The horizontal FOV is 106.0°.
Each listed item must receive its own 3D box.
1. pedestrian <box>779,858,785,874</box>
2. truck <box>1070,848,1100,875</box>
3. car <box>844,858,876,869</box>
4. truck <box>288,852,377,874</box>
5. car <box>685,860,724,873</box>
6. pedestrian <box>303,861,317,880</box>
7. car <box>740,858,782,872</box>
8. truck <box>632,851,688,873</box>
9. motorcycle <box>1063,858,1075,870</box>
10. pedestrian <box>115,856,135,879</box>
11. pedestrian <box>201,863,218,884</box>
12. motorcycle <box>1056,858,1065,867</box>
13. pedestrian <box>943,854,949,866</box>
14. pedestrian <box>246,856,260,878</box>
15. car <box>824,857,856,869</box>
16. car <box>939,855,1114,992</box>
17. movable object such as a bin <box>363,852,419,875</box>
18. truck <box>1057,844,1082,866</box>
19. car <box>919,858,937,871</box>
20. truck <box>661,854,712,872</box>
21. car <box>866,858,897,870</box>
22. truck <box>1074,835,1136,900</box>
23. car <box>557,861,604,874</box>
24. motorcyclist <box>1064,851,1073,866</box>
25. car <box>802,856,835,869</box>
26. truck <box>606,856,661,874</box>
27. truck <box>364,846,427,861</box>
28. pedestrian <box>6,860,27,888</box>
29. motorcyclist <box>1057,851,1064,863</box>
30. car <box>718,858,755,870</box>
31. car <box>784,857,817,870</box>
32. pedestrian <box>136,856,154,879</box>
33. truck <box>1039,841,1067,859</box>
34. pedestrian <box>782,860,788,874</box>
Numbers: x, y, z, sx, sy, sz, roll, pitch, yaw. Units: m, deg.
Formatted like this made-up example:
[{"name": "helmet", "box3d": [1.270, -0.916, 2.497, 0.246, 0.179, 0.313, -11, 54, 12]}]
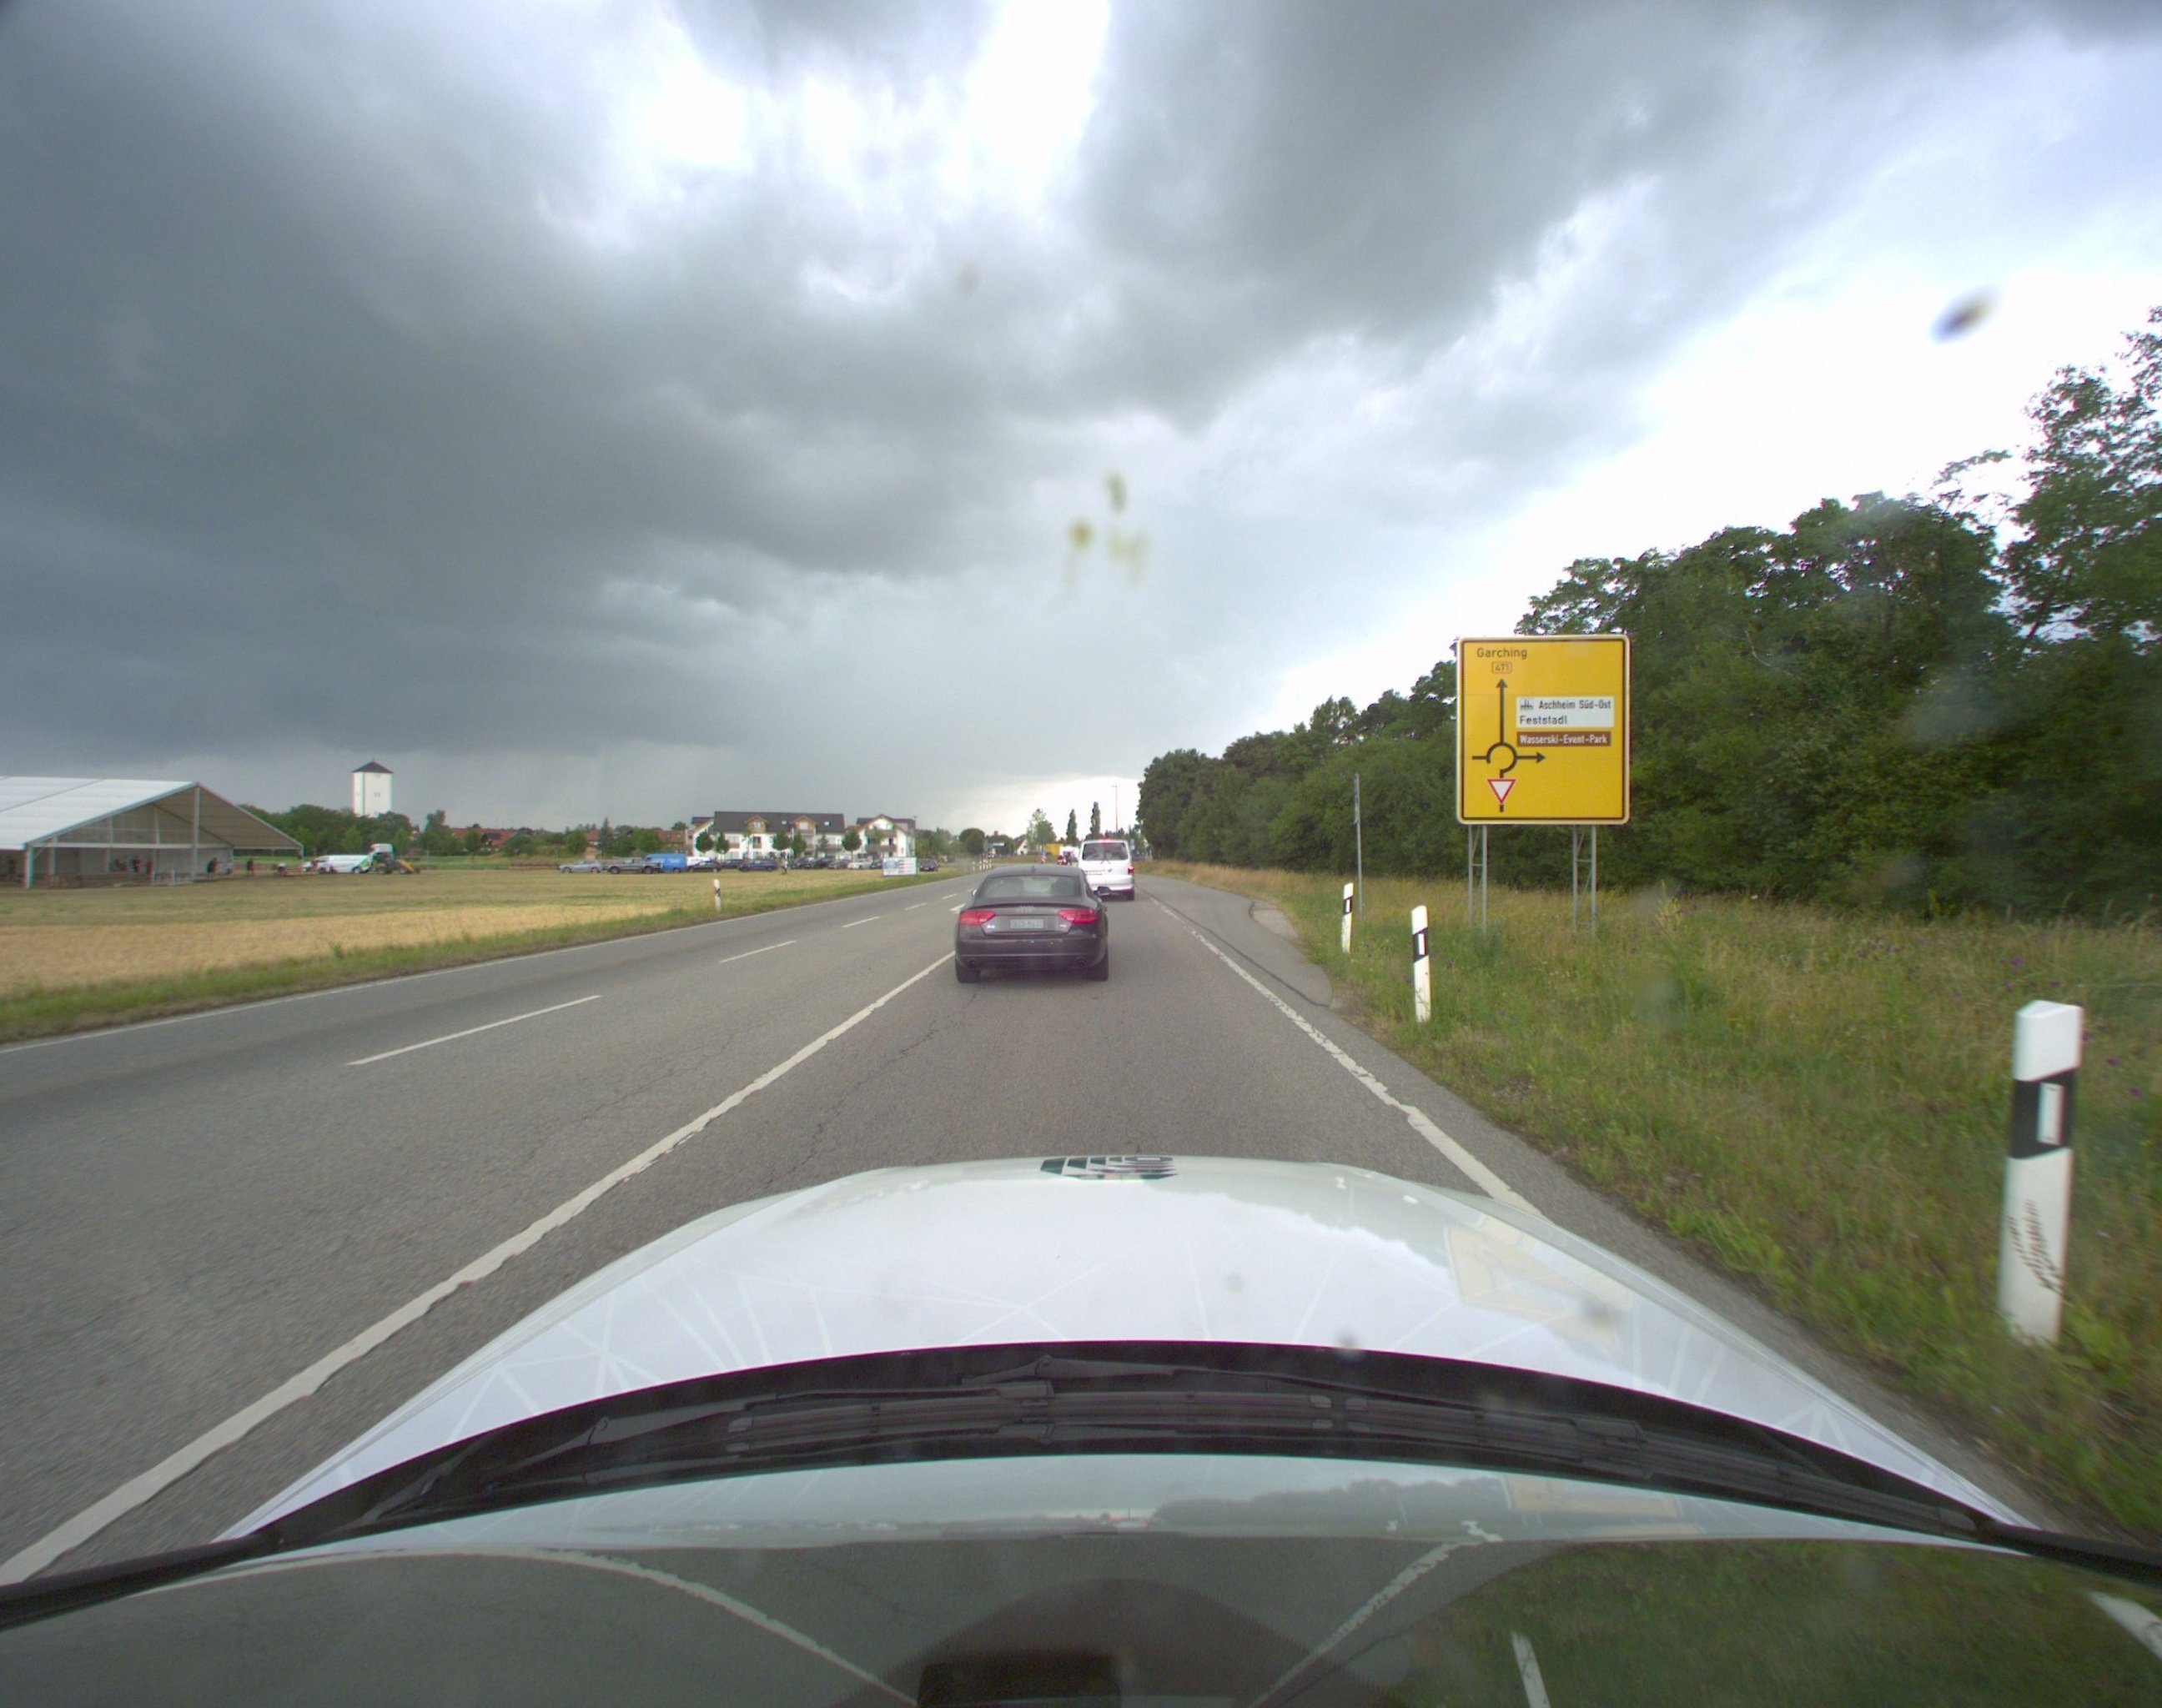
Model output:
[{"name": "pedestrian", "box3d": [-32.554, 1.284, 88.716, 0.548, 1.786, 0.675, 0, 0, -11]}, {"name": "truck", "box3d": [0.346, 0.590, 63.707, 2.186, 2.014, 5.085, 0, 0, 1]}, {"name": "car", "box3d": [-29.268, 1.224, 108.072, 1.977, 1.446, 4.232, -1, 0, 19]}, {"name": "truck", "box3d": [-76.222, 0.893, 83.085, 6.077, 2.217, 2.697, 0, 0, -27]}, {"name": "car", "box3d": [-45.736, 1.448, 98.956, 4.169, 1.519, 1.987, 0, 0, -20]}, {"name": "pedestrian", "box3d": [-72.308, 1.574, 76.381, 0.689, 1.776, 0.692, 0, -1, -12]}, {"name": "car", "box3d": [-39.779, 1.358, 101.306, 4.731, 1.697, 1.987, 0, 0, -20]}, {"name": "truck", "box3d": [-48.702, 0.917, 94.327, 5.470, 2.446, 2.376, 0, 0, -22]}, {"name": "motorcycle", "box3d": [-1.109, 0.892, 74.579, 0.916, 1.094, 2.190, 0, 0, 3]}, {"name": "pedestrian", "box3d": [-75.010, 1.064, 63.909, 0.732, 1.779, 0.755, 0, -1, -20]}, {"name": "pedestrian", "box3d": [-71.831, 1.608, 67.114, 0.690, 1.776, 0.691, 0, -1, -17]}, {"name": "motorcycle", "box3d": [-2.311, 0.955, 91.561, 0.942, 1.019, 2.280, 0, 0, -5]}, {"name": "pedestrian", "box3d": [-19.096, 0.838, 115.162, 0.695, 1.586, 0.660, -1, -1, 17]}, {"name": "pedestrian", "box3d": [-73.871, 1.158, 72.664, 0.626, 1.866, 0.704, 0, -1, -18]}, {"name": "car", "box3d": [-32.018, 1.202, 108.496, 1.977, 1.535, 4.232, -1, 0, 19]}, {"name": "car", "box3d": [-0.573, 0.754, 10.898, 1.869, 1.454, 4.177, -1, 0, 0]}, {"name": "movable object such as a bin", "box3d": [-69.693, 0.955, 82.312, 4.007, 2.243, 1.869, 0, 0, -27]}, {"name": "truck", "box3d": [-1.501, 0.156, 102.810, 2.623, 2.737, 5.855, 0, 0, -6]}, {"name": "car", "box3d": [-17.911, 1.177, 95.189, 1.994, 1.442, 3.986, 0, 1, -10]}, {"name": "truck", "box3d": [-49.177, 1.140, 101.736, 5.587, 2.196, 2.588, 0, 0, -22]}, {"name": "car", "box3d": [-26.385, 1.283, 107.659, 1.977, 1.446, 4.232, -1, 0, 19]}, {"name": "truck", "box3d": [0.790, 0.424, 27.489, 1.897, 1.998, 4.629, 0, 0, 1]}, {"name": "car", "box3d": [-56.161, 1.488, 91.430, 4.317, 1.461, 1.875, 0, 0, -26]}, {"name": "motorcyclist", "box3d": [-1.140, 0.380, 74.443, 0.769, 1.383, 0.821, 0, 0, 3]}, {"name": "car", "box3d": [-35.143, 1.151, 109.021, 1.977, 1.629, 4.232, -1, 0, 19]}, {"name": "truck", "box3d": [-49.432, 1.239, 90.083, 5.253, 1.920, 2.094, 0, 0, -26]}, {"name": "truck", "box3d": [-124.909, -0.098, 148.460, 9.298, 2.530, 3.305, 0, 0, 6]}, {"name": "pedestrian", "box3d": [-76.804, 1.425, 58.739, 0.866, 2.014, 0.772, -1, -1, 28]}, {"name": "motorcyclist", "box3d": [-2.305, 0.376, 91.498, 0.784, 1.356, 0.852, 0, 0, -5]}, {"name": "car", "box3d": [-47.760, 1.365, 113.087, 4.640, 1.697, 1.987, 0, 0, -20]}, {"name": "car", "box3d": [-38.300, 1.264, 111.193, 1.977, 1.629, 4.232, -1, 0, 19]}, {"name": "pedestrian", "box3d": [-73.730, 1.065, 64.121, 0.656, 1.744, 0.722, 0, -1, -20]}, {"name": "truck", "box3d": [-5.773, -0.813, 164.616, 3.582, 3.578, 9.907, 0, 0, -15]}, {"name": "pedestrian", "box3d": [-32.599, 1.469, 89.724, 0.591, 1.555, 0.622, 0, -1, -18]}]
